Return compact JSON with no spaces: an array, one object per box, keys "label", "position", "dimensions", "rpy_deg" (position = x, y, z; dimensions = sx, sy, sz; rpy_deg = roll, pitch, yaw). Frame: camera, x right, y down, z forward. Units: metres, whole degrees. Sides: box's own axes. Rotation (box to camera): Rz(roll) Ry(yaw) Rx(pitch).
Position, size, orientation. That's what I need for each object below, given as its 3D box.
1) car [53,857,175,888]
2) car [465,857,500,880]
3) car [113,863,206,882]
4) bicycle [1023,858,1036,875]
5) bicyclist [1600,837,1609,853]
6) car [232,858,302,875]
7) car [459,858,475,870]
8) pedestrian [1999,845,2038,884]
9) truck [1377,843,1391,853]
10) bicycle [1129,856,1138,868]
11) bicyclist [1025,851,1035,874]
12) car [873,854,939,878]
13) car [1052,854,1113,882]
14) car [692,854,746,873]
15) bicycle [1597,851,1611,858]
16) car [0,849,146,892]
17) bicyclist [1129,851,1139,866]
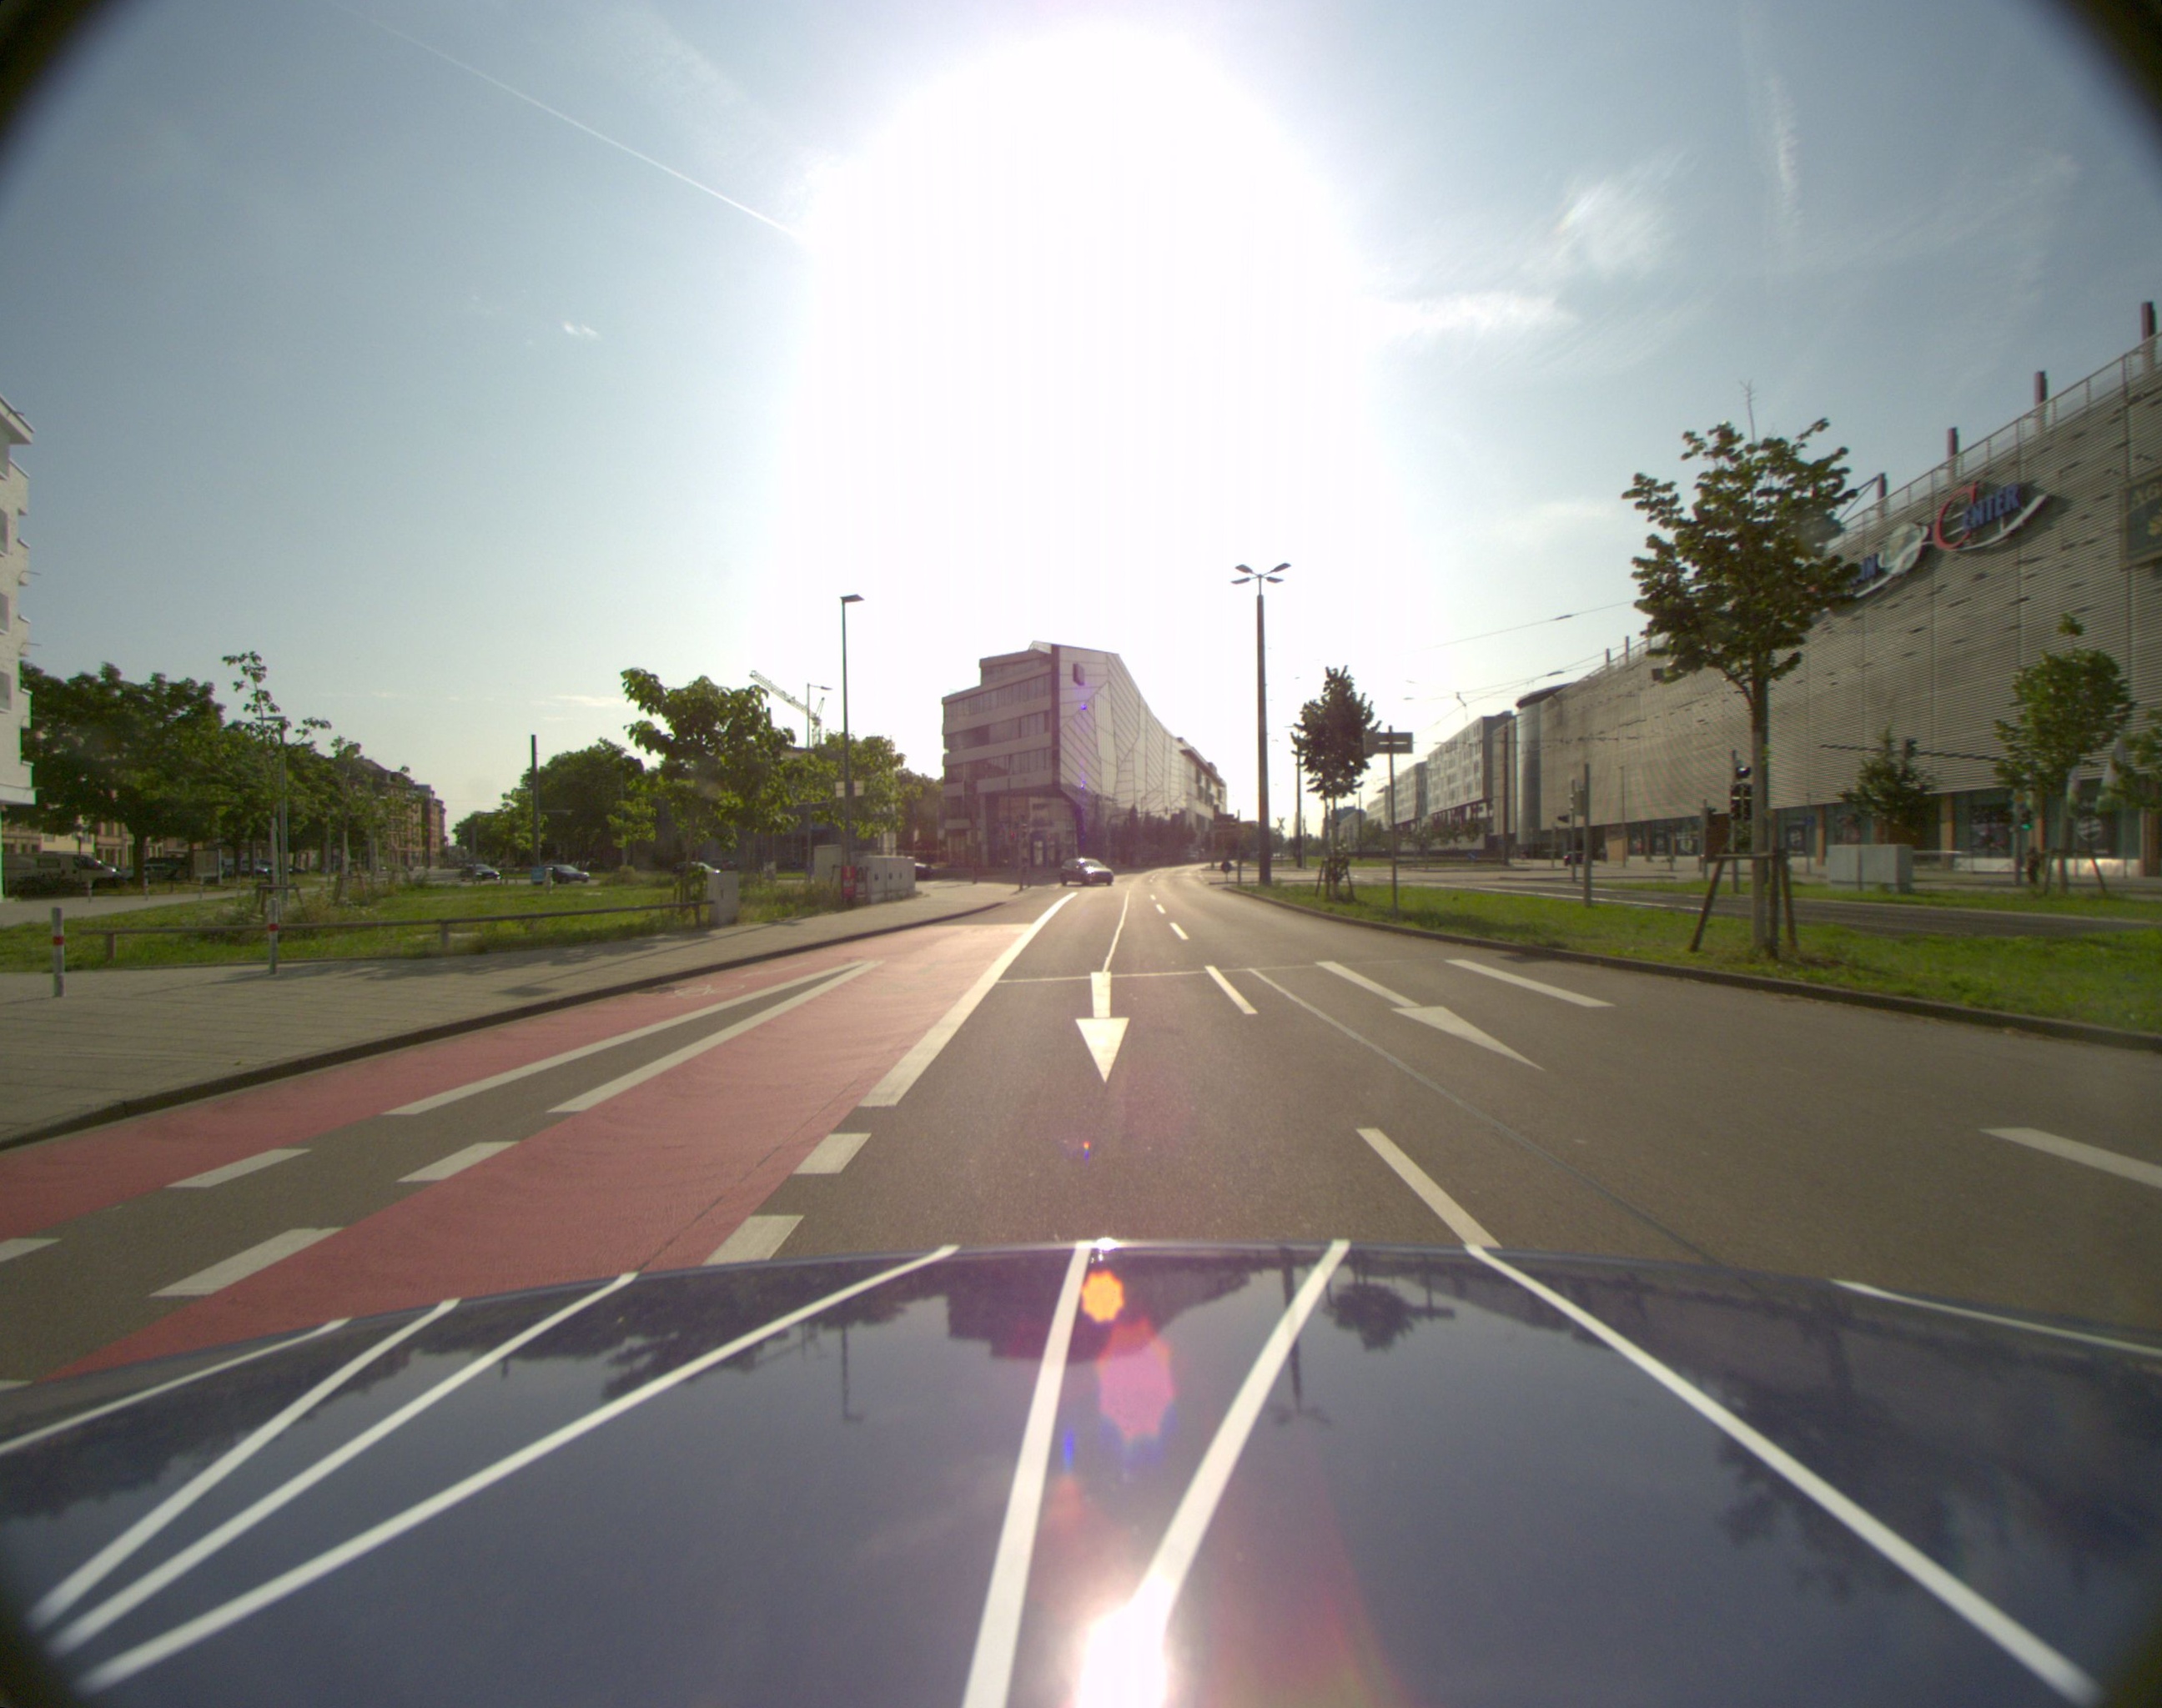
[{"label":"car","position":[-56.775,1.074,44.718],"dimensions":[1.876,1.696,3.989],"rpy_deg":[-1,0,16]},{"label":"car","position":[-54.017,1.305,68.527],"dimensions":[2.004,2.002,3.988],"rpy_deg":[-1,1,-44]},{"label":"car","position":[-66.679,1.326,55.054],"dimensions":[1.718,1.242,3.860],"rpy_deg":[-1,0,16]},{"label":"bicycle","position":[-3.744,0.901,55.537],"dimensions":[0.669,1.092,1.805],"rpy_deg":[0,2,4]},{"label":"bicyclist","position":[54.976,-0.979,79.815],"dimensions":[0.567,1.621,0.715],"rpy_deg":[0,2,13]},{"label":"car","position":[-87.112,1.349,81.387],"dimensions":[1.719,1.827,4.932],"rpy_deg":[0,-1,12]},{"label":"car","position":[-115.199,1.894,142.523],"dimensions":[2.004,1.968,3.988],"rpy_deg":[-2,3,-41]},{"label":"pedestrian","position":[37.752,0.408,30.604],"dimensions":[0.762,1.570,0.590],"rpy_deg":[0,1,11]},{"label":"truck","position":[71.741,-1.316,179.711],"dimensions":[2.204,2.308,4.554],"rpy_deg":[-1,0,10]},{"label":"bicycle","position":[5.335,0.810,77.287],"dimensions":[0.418,1.050,1.962],"rpy_deg":[0,2,21]},{"label":"bicyclist","position":[-3.742,0.609,55.622],"dimensions":[0.669,1.693,0.637],"rpy_deg":[0,2,4]},{"label":"car","position":[-12.457,0.870,54.282],"dimensions":[4.213,1.668,1.805],"rpy_deg":[-1,0,13]},{"label":"car","position":[0.049,0.739,41.837],"dimensions":[1.647,1.411,3.886],"rpy_deg":[-1,1,-30]},{"label":"car","position":[-35.697,0.894,74.962],"dimensions":[4.803,1.773,1.958],"rpy_deg":[0,2,21]},{"label":"bicycle","position":[54.985,0.043,79.865],"dimensions":[0.581,0.775,1.871],"rpy_deg":[0,0,15]},{"label":"car","position":[-55.140,0.832,41.328],"dimensions":[1.875,2.166,5.055],"rpy_deg":[-1,0,23]},{"label":"bicyclist","position":[5.362,0.449,77.279],"dimensions":[0.782,1.577,0.933],"rpy_deg":[0,2,21]}]
